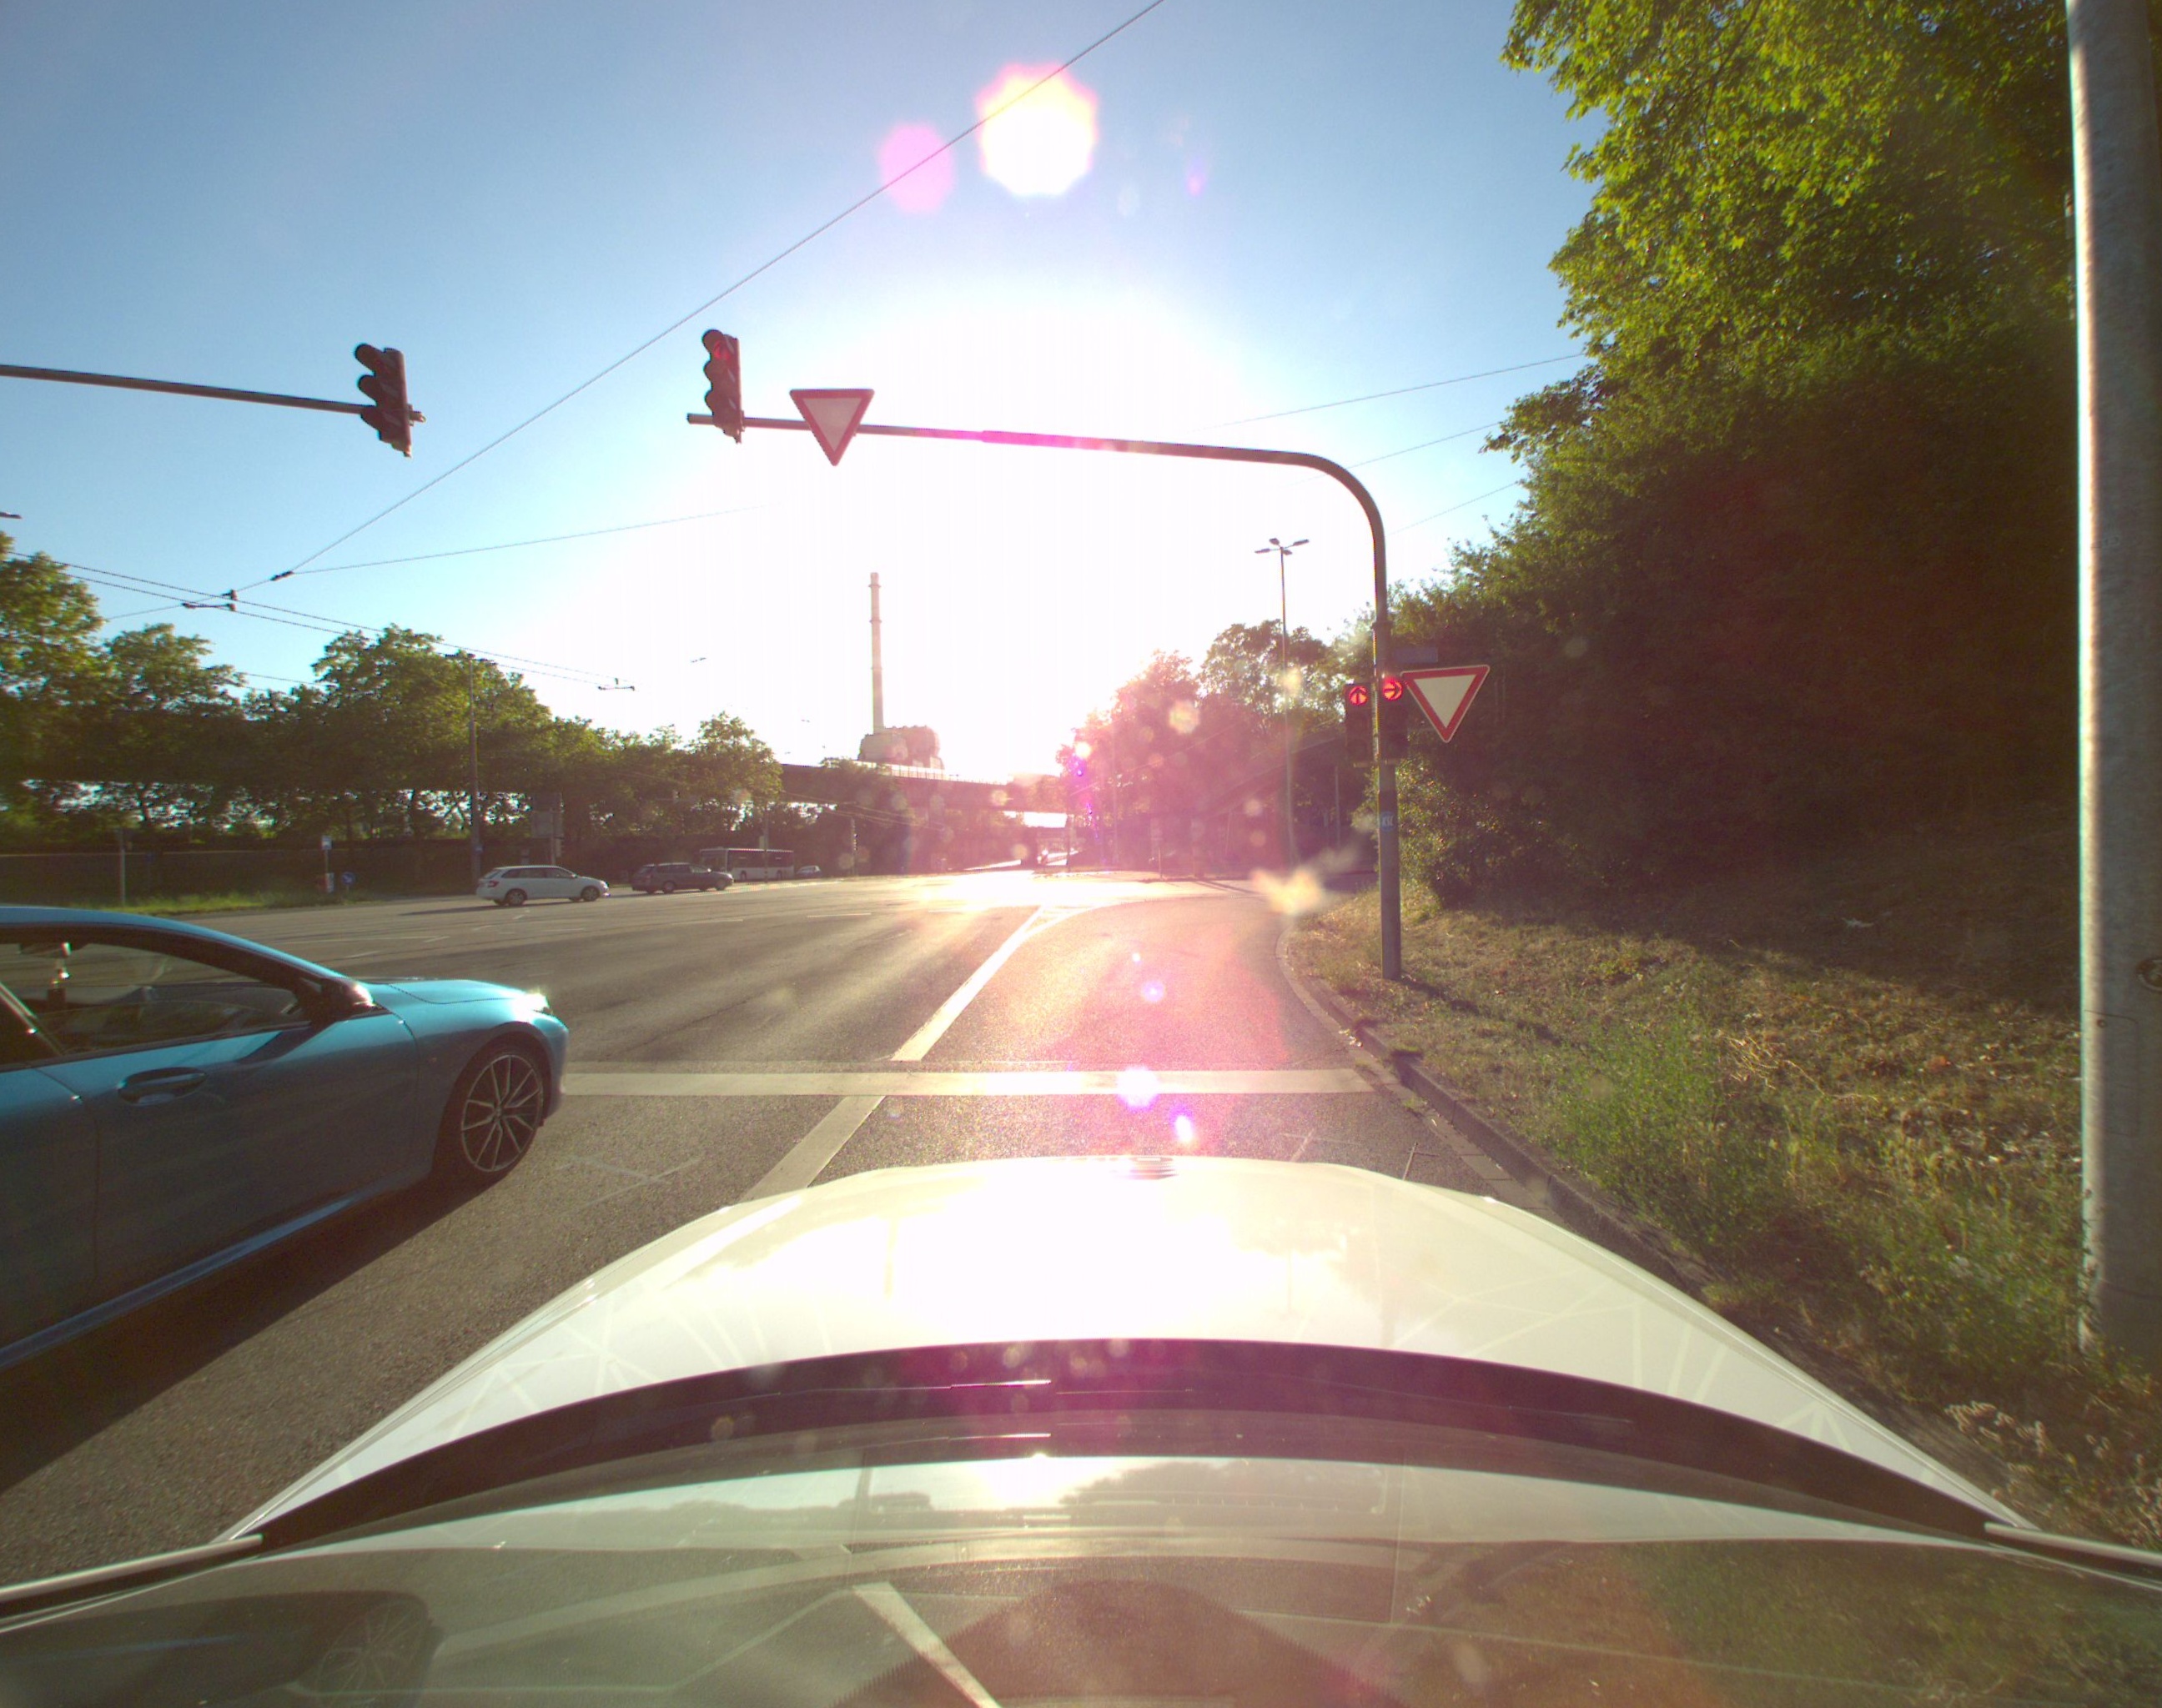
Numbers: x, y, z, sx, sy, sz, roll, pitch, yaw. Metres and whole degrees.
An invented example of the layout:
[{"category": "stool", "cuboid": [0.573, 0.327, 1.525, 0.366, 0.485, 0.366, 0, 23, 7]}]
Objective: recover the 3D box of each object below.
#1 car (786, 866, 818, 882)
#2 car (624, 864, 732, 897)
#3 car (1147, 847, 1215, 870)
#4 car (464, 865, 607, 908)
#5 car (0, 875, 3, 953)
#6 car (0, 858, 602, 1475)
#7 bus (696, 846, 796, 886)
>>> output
[{"category": "car", "cuboid": [-28.400, 2.027, 83.012, 1.600, 1.419, 4.012, -1, 0, 3]}, {"category": "car", "cuboid": [-19.686, 1.256, 39.922, 1.649, 1.405, 4.473, -1, 0, 36]}, {"category": "car", "cuboid": [7.175, 0.326, 58.390, 4.584, 1.574, 1.685, -1, 0, -16]}, {"category": "car", "cuboid": [-20.613, 1.188, 30.929, 1.649, 1.405, 4.223, -1, 0, 39]}, {"category": "car", "cuboid": [-23.515, 1.252, 15.056, 4.001, 1.574, 1.682, -1, 0, -20]}, {"category": "car", "cuboid": [-3.500, 0.797, 2.391, 1.709, 1.465, 4.205, -2, 0, -1]}, {"category": "bus", "cuboid": [-29.278, 1.059, 72.127, 2.532, 3.130, 12.932, -2, -1, 4]}]
